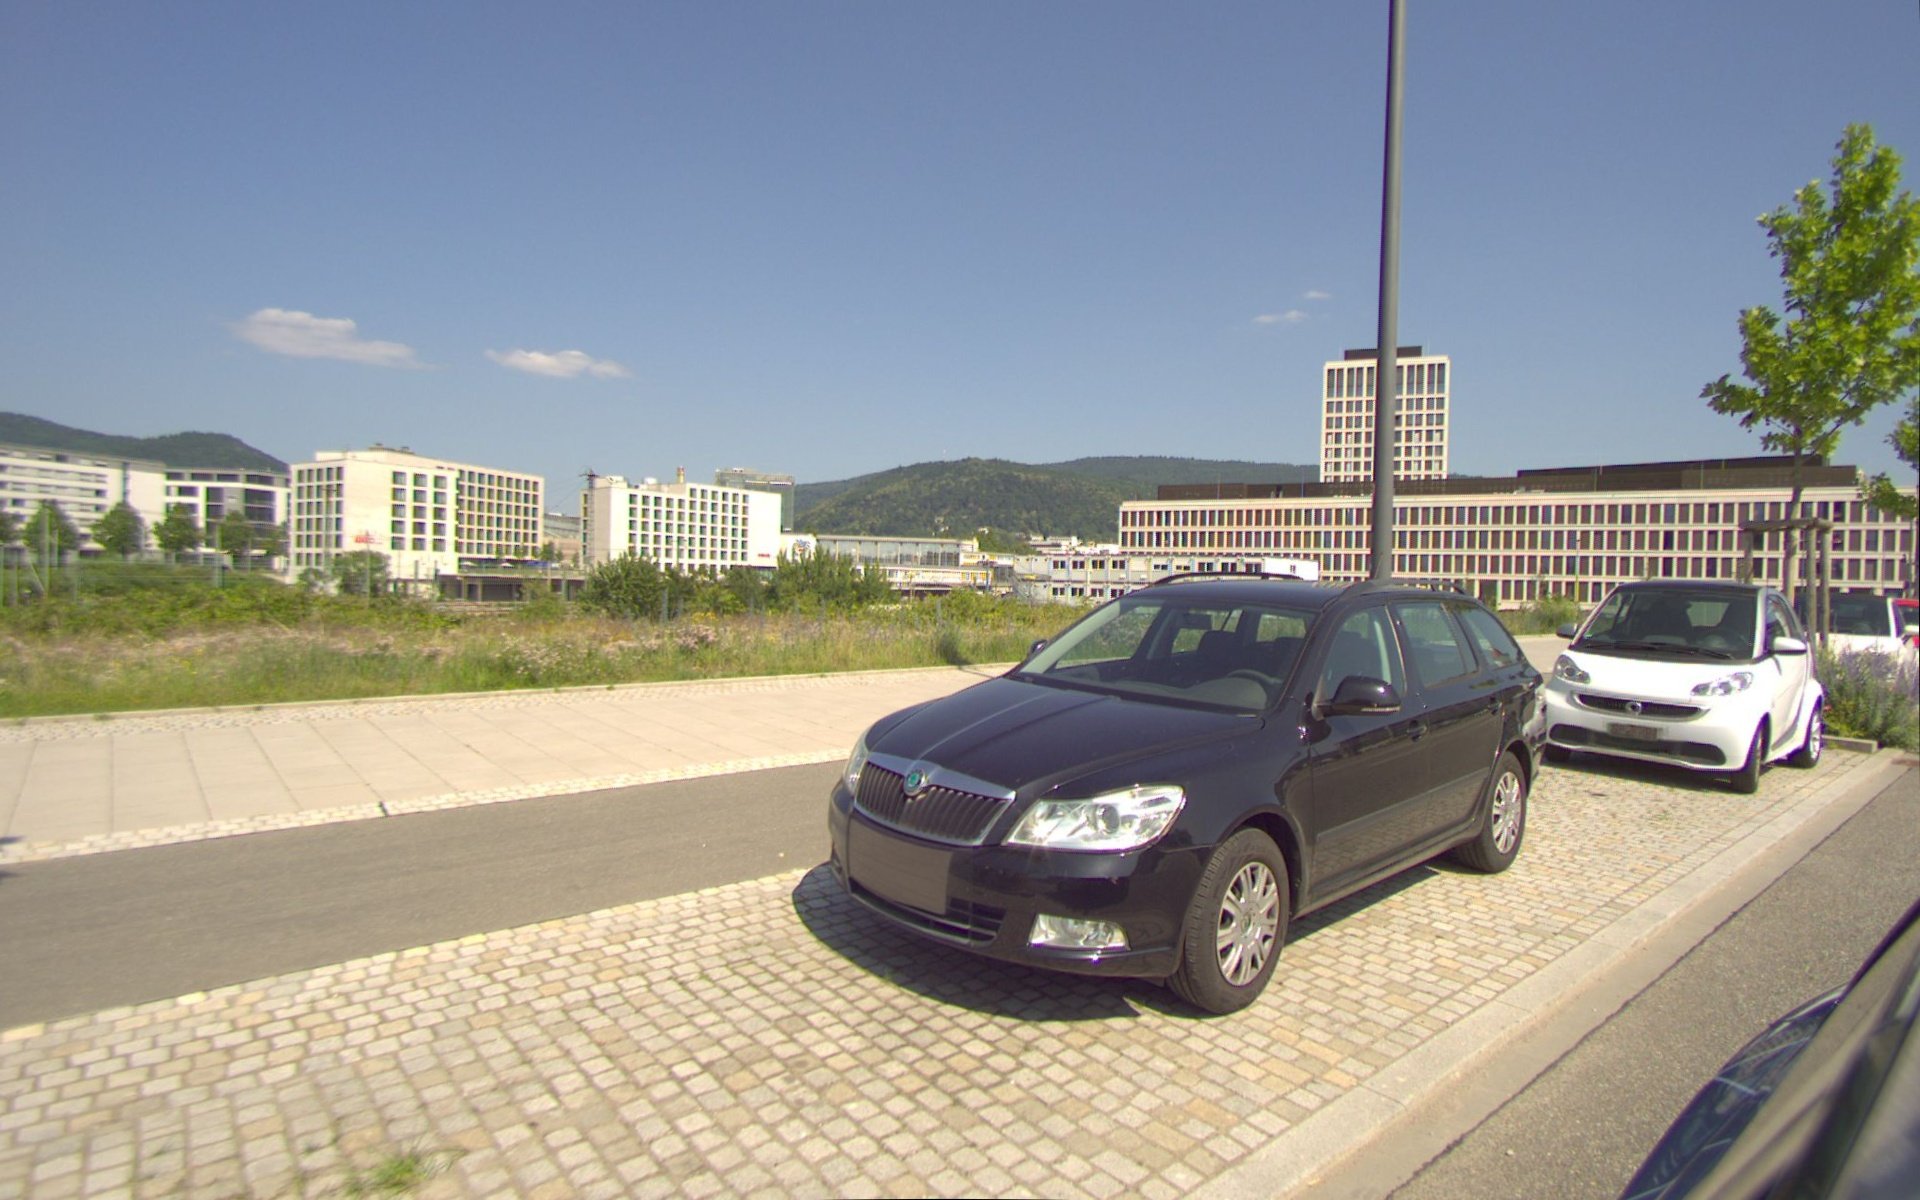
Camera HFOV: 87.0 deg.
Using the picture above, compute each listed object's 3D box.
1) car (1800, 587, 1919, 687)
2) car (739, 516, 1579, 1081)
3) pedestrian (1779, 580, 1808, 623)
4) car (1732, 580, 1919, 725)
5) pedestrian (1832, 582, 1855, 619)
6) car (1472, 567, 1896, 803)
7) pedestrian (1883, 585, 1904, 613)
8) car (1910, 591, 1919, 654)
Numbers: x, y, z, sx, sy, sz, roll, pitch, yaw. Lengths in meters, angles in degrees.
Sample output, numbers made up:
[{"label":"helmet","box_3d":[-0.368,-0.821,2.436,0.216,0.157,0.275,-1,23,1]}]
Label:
[{"label":"car","box_3d":[15.294,0.580,16.599,3.929,1.470,1.720,1,-1,-41]},{"label":"car","box_3d":[1.296,0.490,4.825,4.300,1.495,1.791,0,2,-44]},{"label":"pedestrian","box_3d":[34.606,0.044,42.019,0.729,1.726,0.782,0,2,-40]},{"label":"car","box_3d":[11.861,0.569,13.506,3.579,1.542,1.721,-2,5,-41]},{"label":"pedestrian","box_3d":[42.683,0.020,48.904,0.639,1.726,0.733,-1,1,-40]},{"label":"car","box_3d":[6.456,0.556,8.882,4.081,1.597,1.914,0,1,-38]},{"label":"pedestrian","box_3d":[55.381,-0.057,60.037,0.932,1.628,0.752,1,3,-41]},{"label":"car","box_3d":[23.975,0.526,24.092,4.168,1.447,1.635,0,2,-42]}]
